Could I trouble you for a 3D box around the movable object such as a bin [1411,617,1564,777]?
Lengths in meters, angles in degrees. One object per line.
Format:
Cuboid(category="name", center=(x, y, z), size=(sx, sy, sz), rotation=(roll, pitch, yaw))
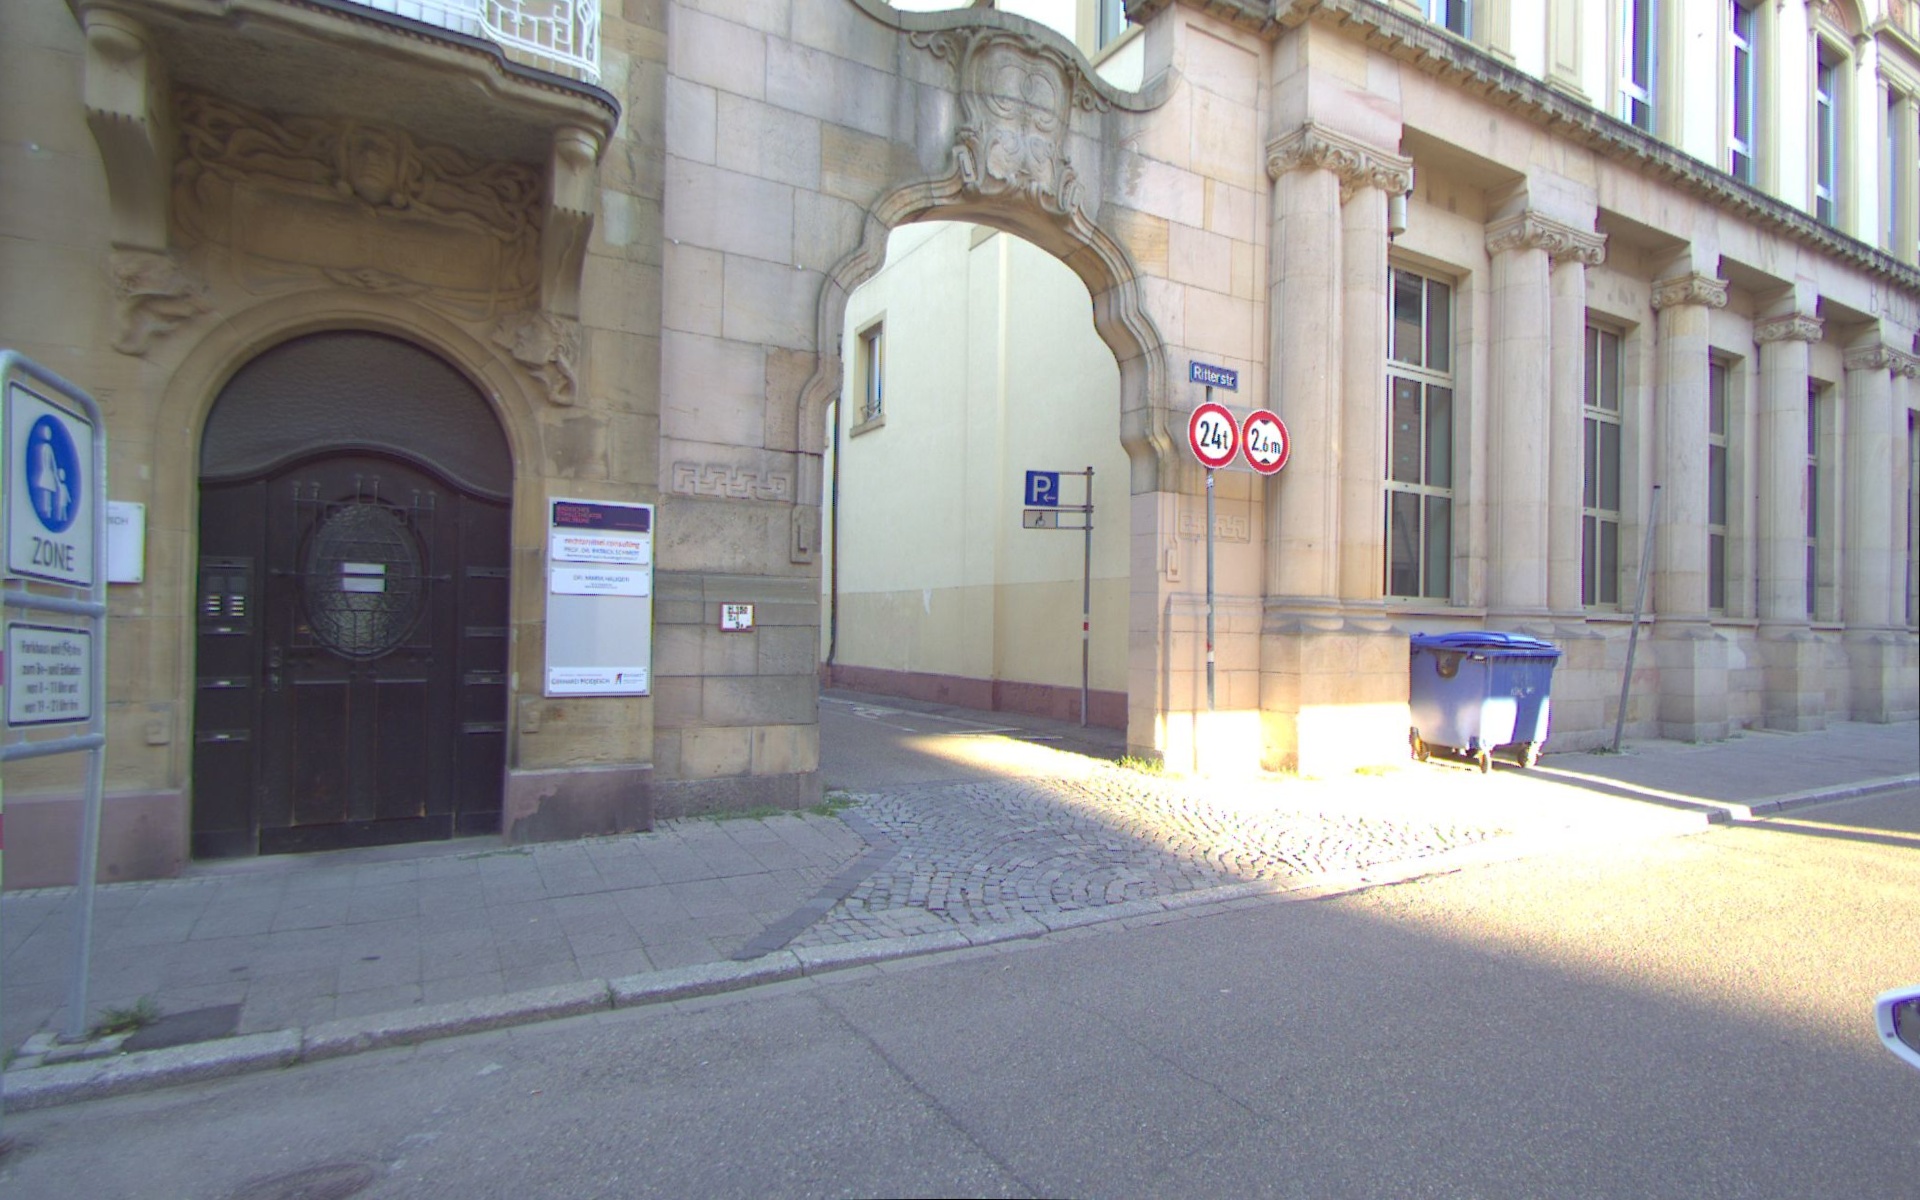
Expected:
Cuboid(category="movable object such as a bin", center=(5.418, 0.951, 10.319), size=(1.275, 1.523, 0.825), rotation=(1, -1, -29))
